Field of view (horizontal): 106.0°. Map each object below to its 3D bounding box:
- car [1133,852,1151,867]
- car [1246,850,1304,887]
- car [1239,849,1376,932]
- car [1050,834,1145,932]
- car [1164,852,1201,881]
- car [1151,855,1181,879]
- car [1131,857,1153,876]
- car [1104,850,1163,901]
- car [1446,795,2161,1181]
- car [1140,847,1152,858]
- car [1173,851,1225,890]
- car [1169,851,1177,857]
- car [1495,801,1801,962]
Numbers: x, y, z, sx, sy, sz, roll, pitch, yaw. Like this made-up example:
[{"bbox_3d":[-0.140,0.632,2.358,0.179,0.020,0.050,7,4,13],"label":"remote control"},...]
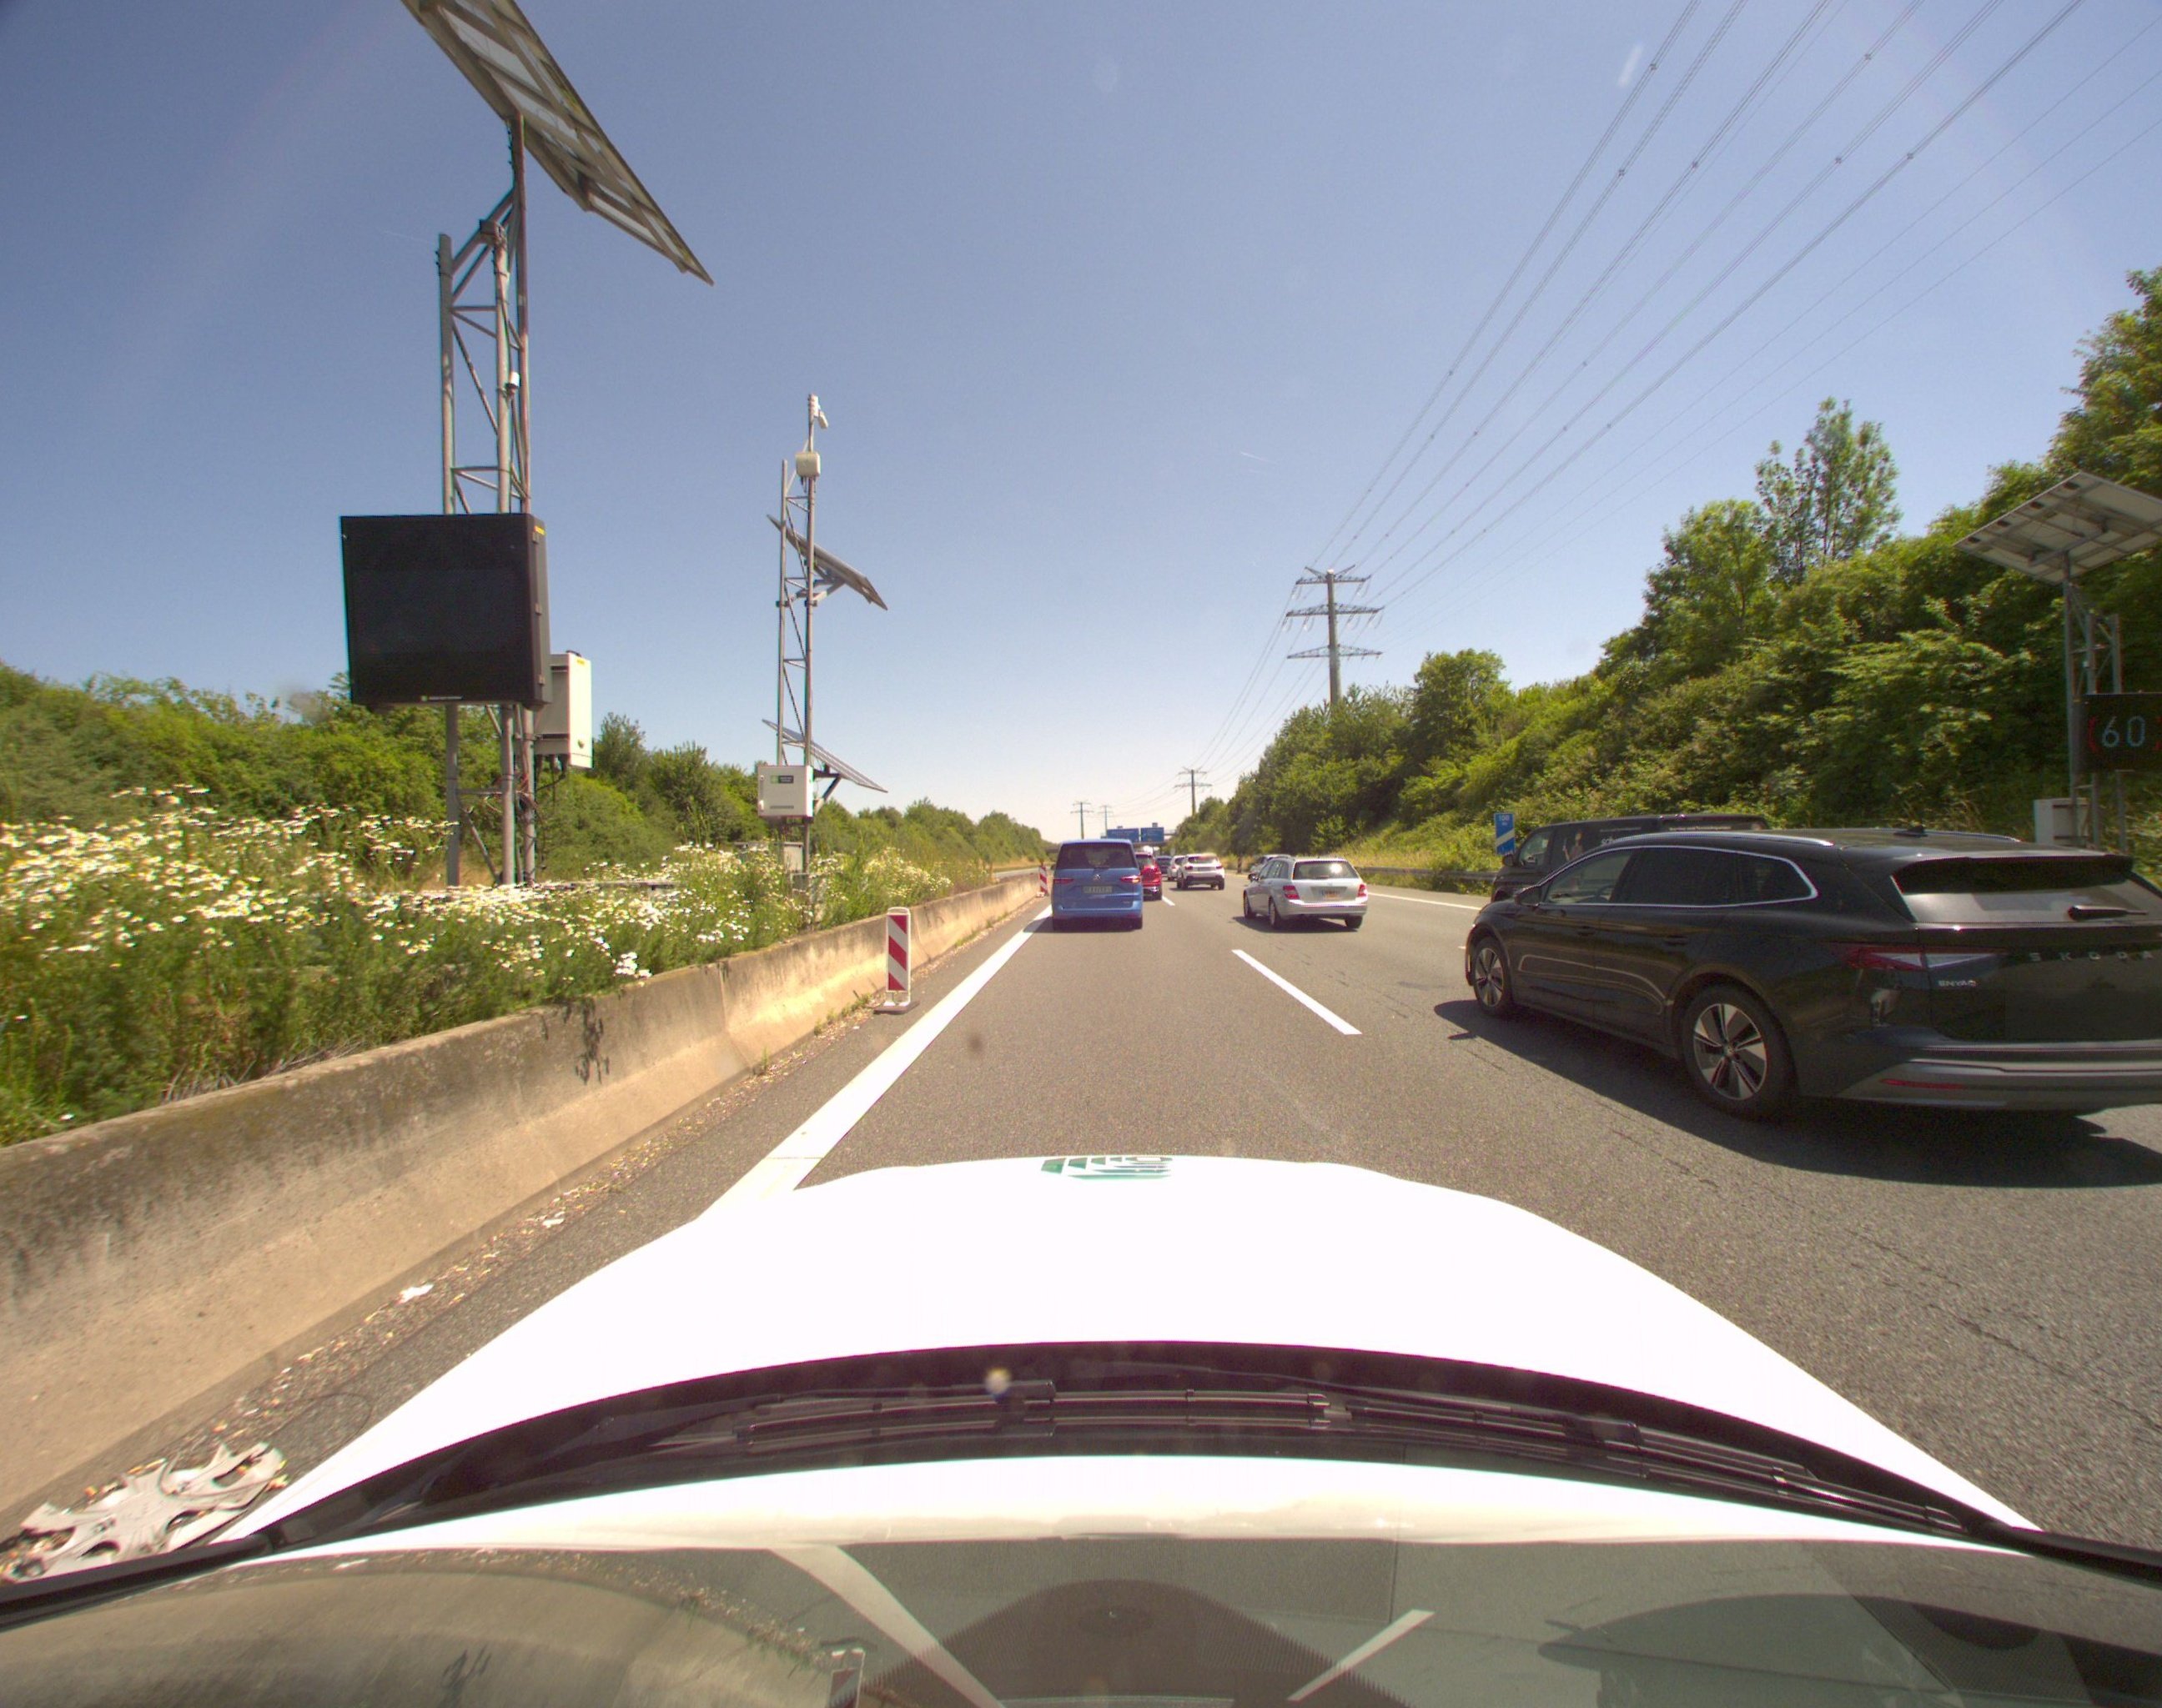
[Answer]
[{"bbox_3d":[6.914,0.605,92.711,1.791,1.594,4.228,0,-1,2],"label":"car"},{"bbox_3d":[8.823,0.647,37.416,1.791,1.594,4.228,0,-1,2],"label":"car"},{"bbox_3d":[4.635,0.696,17.348,1.764,1.517,4.360,0,-1,1],"label":"car"},{"bbox_3d":[0.362,0.585,18.234,1.868,1.912,4.360,0,-1,1],"label":"car"},{"bbox_3d":[5.944,0.723,47.982,1.791,1.594,4.228,0,-1,2],"label":"car"},{"bbox_3d":[5.980,0.913,57.796,1.791,1.594,4.228,0,-1,2],"label":"car"},{"bbox_3d":[5.472,1.112,73.835,1.791,1.594,4.228,0,-1,2],"label":"car"},{"bbox_3d":[1.756,0.714,28.721,1.868,1.671,4.360,0,-1,1],"label":"car"},{"bbox_3d":[4.385,0.591,5.729,1.695,1.655,4.430,0,-1,1],"label":"car"},{"bbox_3d":[14.280,-0.371,177.951,2.368,2.428,4.228,0,-1,2],"label":"car"},{"bbox_3d":[5.116,0.706,35.679,1.791,1.594,4.228,0,-1,2],"label":"car"},{"bbox_3d":[25.075,-0.047,221.917,1.868,1.671,4.360,0,-1,1],"label":"car"},{"bbox_3d":[8.218,0.365,12.371,1.791,2.014,4.228,0,-1,2],"label":"car"}]
